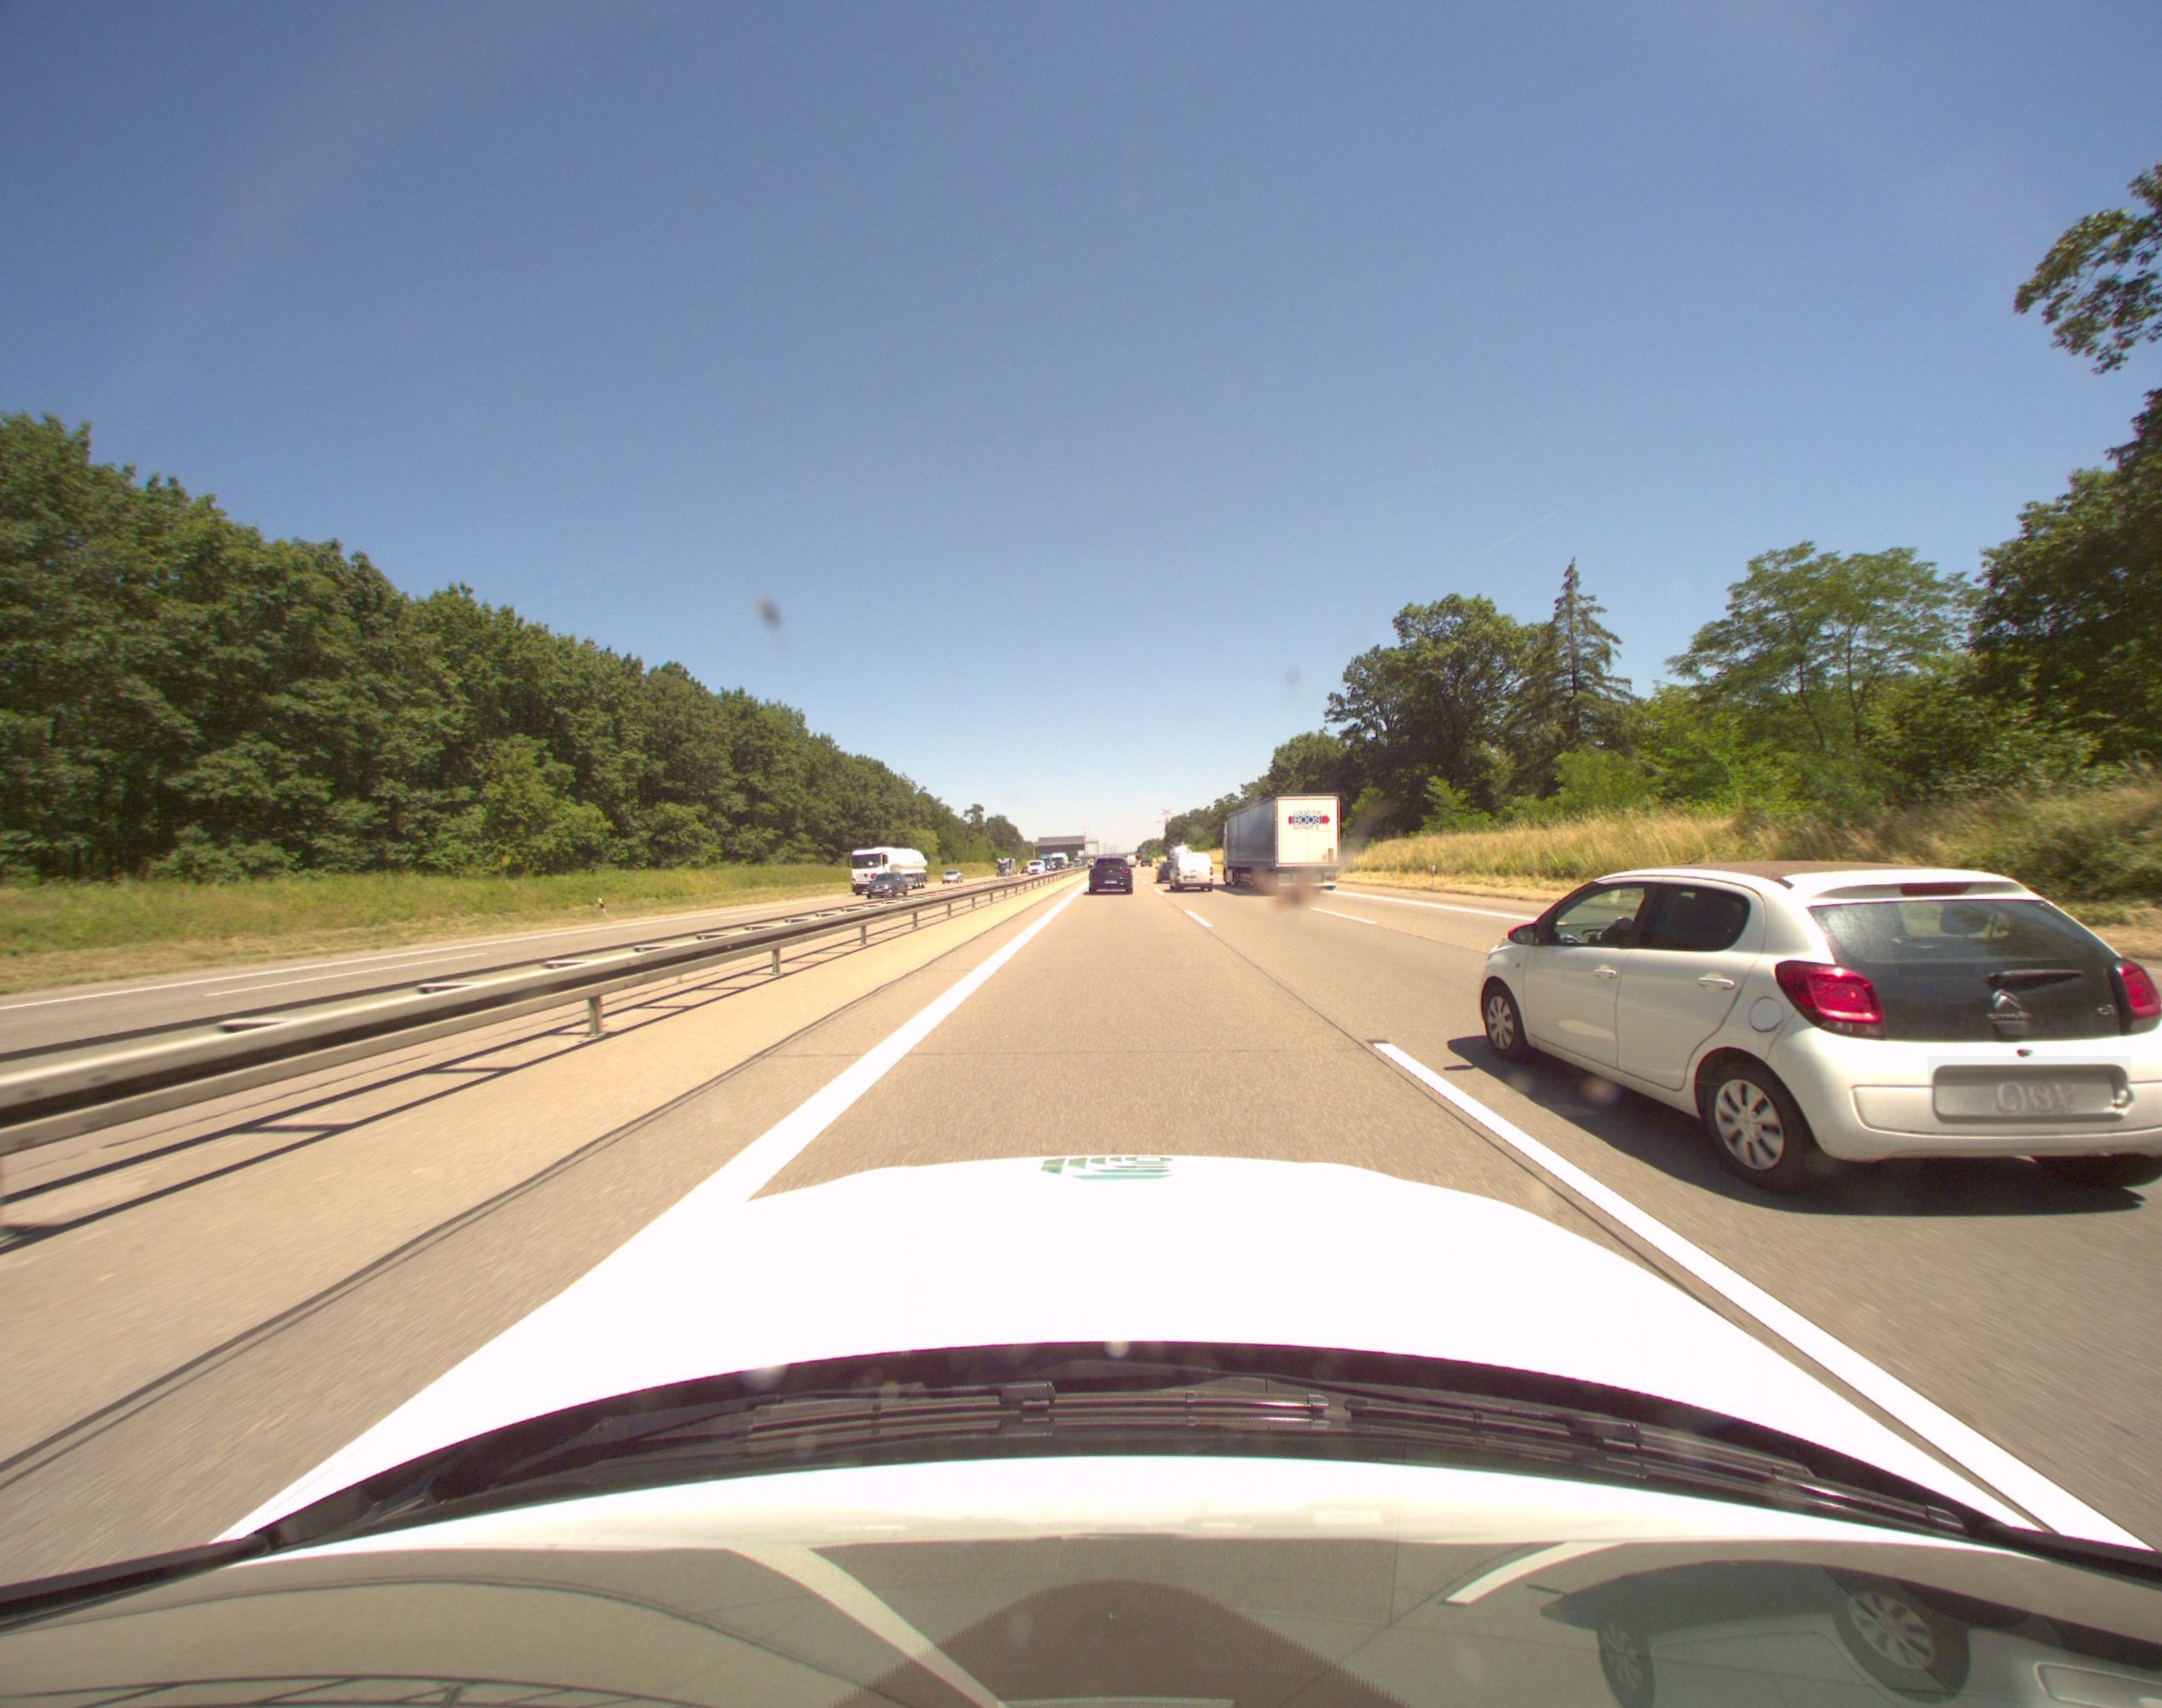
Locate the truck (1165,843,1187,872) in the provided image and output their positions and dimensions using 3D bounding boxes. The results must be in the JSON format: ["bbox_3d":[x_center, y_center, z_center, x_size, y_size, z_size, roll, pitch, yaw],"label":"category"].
[{"bbox_3d":[12.920,0.481,110.930,2.673,3.837,4.446,0,-1,2],"label":"truck"}]

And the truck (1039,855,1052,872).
[{"bbox_3d":[-9.192,2.398,209.866,2.659,4.169,6.191,-4,-1,2],"label":"truck"}]

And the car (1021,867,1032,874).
[{"bbox_3d":[-10.706,3.256,159.108,1.633,1.276,4.134,-4,-1,2],"label":"car"}]

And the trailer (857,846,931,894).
[{"bbox_3d":[-14.894,1.232,66.112,2.672,3.434,11.805,-4,-1,2],"label":"trailer"}]

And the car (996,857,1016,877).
[{"bbox_3d":[-11.745,2.007,127.937,2.205,2.858,6.456,-4,-1,2],"label":"car"}]

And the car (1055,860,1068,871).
[{"bbox_3d":[-3.521,2.049,147.423,1.869,1.847,5.837,-4,-1,2],"label":"car"}]

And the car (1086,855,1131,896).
[{"bbox_3d":[1.292,0.954,38.562,1.933,1.752,5.815,-1,0,1],"label":"car"}]

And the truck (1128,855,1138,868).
[{"bbox_3d":[11.978,1.764,188.708,2.052,2.914,7.006,-2,-1,2],"label":"truck"}]

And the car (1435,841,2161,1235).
[{"bbox_3d":[3.898,0.712,5.124,1.701,1.495,4.026,-1,0,2],"label":"car"}]

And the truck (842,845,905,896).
[{"bbox_3d":[-15.166,1.194,60.056,2.672,3.434,6.147,-4,-1,2],"label":"truck"}]

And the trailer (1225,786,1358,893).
[{"bbox_3d":[9.472,-0.492,38.825,3.273,4.219,13.570,0,-1,2],"label":"trailer"}]

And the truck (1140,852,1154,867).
[{"bbox_3d":[16.915,1.420,209.078,2.978,3.729,10.093,0,-1,2],"label":"truck"}]

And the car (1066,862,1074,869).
[{"bbox_3d":[-2.497,2.614,182.712,1.611,1.482,4.626,-4,-1,2],"label":"car"}]

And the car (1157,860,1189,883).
[{"bbox_3d":[6.088,1.134,53.962,1.768,1.472,3.874,-2,-1,2],"label":"car"}]

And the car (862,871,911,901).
[{"bbox_3d":[-11.240,1.820,47.301,1.626,1.473,3.939,-4,-1,2],"label":"car"}]

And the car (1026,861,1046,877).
[{"bbox_3d":[-5.761,1.877,104.275,1.988,1.947,5.743,-4,-1,1],"label":"car"}]

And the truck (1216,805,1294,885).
[{"bbox_3d":[9.713,-0.449,46.101,3.273,4.219,6.010,0,-1,2],"label":"truck"}]

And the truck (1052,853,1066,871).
[{"bbox_3d":[-5.071,1.820,190.736,2.659,3.990,6.343,-4,-1,2],"label":"truck"}]

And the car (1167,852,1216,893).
[{"bbox_3d":[5.329,0.875,39.912,1.807,1.827,5.112,-2,-1,2],"label":"car"}]

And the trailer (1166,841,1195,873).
[{"bbox_3d":[12.737,0.407,105.219,2.672,3.837,12.014,0,-1,2],"label":"trailer"}]

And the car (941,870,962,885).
[{"bbox_3d":[-14.288,2.537,90.014,1.563,1.465,4.036,-4,-1,1],"label":"car"}]
